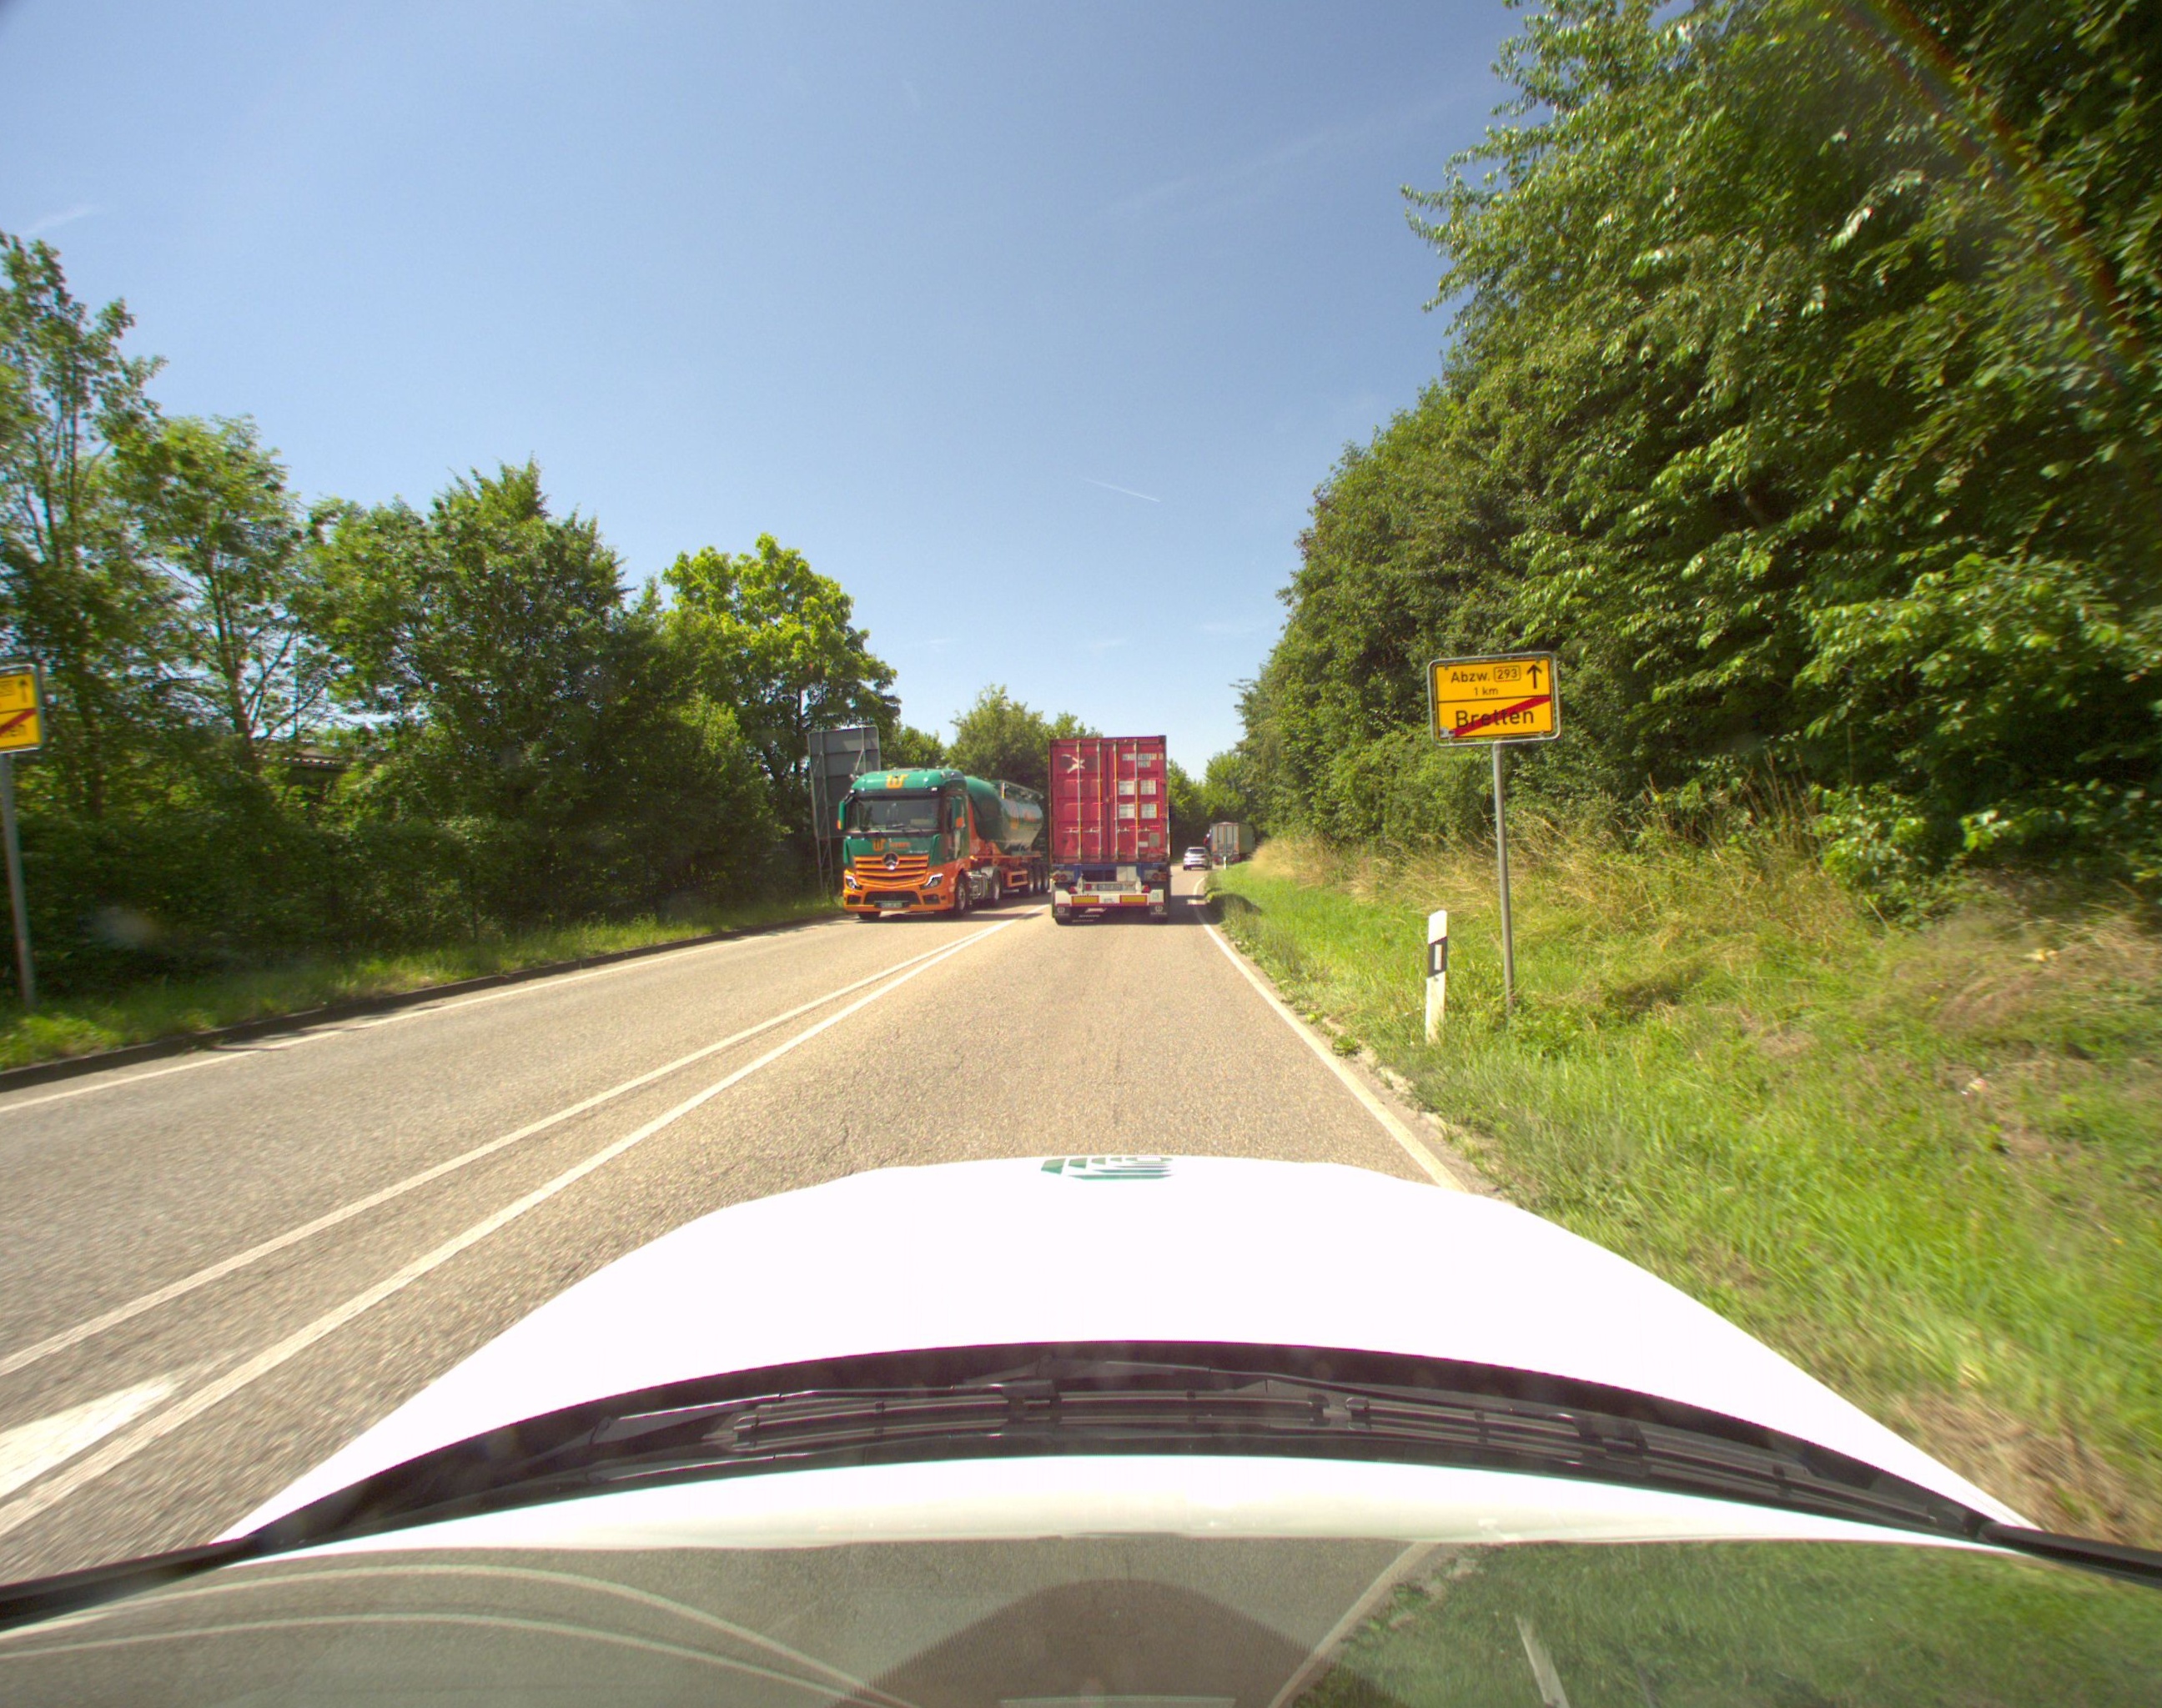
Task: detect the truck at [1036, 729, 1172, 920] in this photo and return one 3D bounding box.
[{"bbox_3d":[1.205,-0.589,23.097,2.634,3.806,13.384,-1,0,7],"label":"truck"}]

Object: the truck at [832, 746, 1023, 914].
[{"bbox_3d":[-3.714,-0.547,22.020,2.564,3.679,7.894,-1,0,8],"label":"truck"}]

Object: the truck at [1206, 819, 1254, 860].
[{"bbox_3d":[14.979,-1.399,80.800,2.898,3.717,13.421,-1,0,18],"label":"truck"}]

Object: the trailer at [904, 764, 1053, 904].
[{"bbox_3d":[-3.009,-0.571,26.979,2.563,3.819,8.935,-1,0,8],"label":"trailer"}]

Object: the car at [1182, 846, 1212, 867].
[{"bbox_3d":[8.513,0.149,59.496,1.820,1.433,4.014,-1,0,13],"label":"car"}]
